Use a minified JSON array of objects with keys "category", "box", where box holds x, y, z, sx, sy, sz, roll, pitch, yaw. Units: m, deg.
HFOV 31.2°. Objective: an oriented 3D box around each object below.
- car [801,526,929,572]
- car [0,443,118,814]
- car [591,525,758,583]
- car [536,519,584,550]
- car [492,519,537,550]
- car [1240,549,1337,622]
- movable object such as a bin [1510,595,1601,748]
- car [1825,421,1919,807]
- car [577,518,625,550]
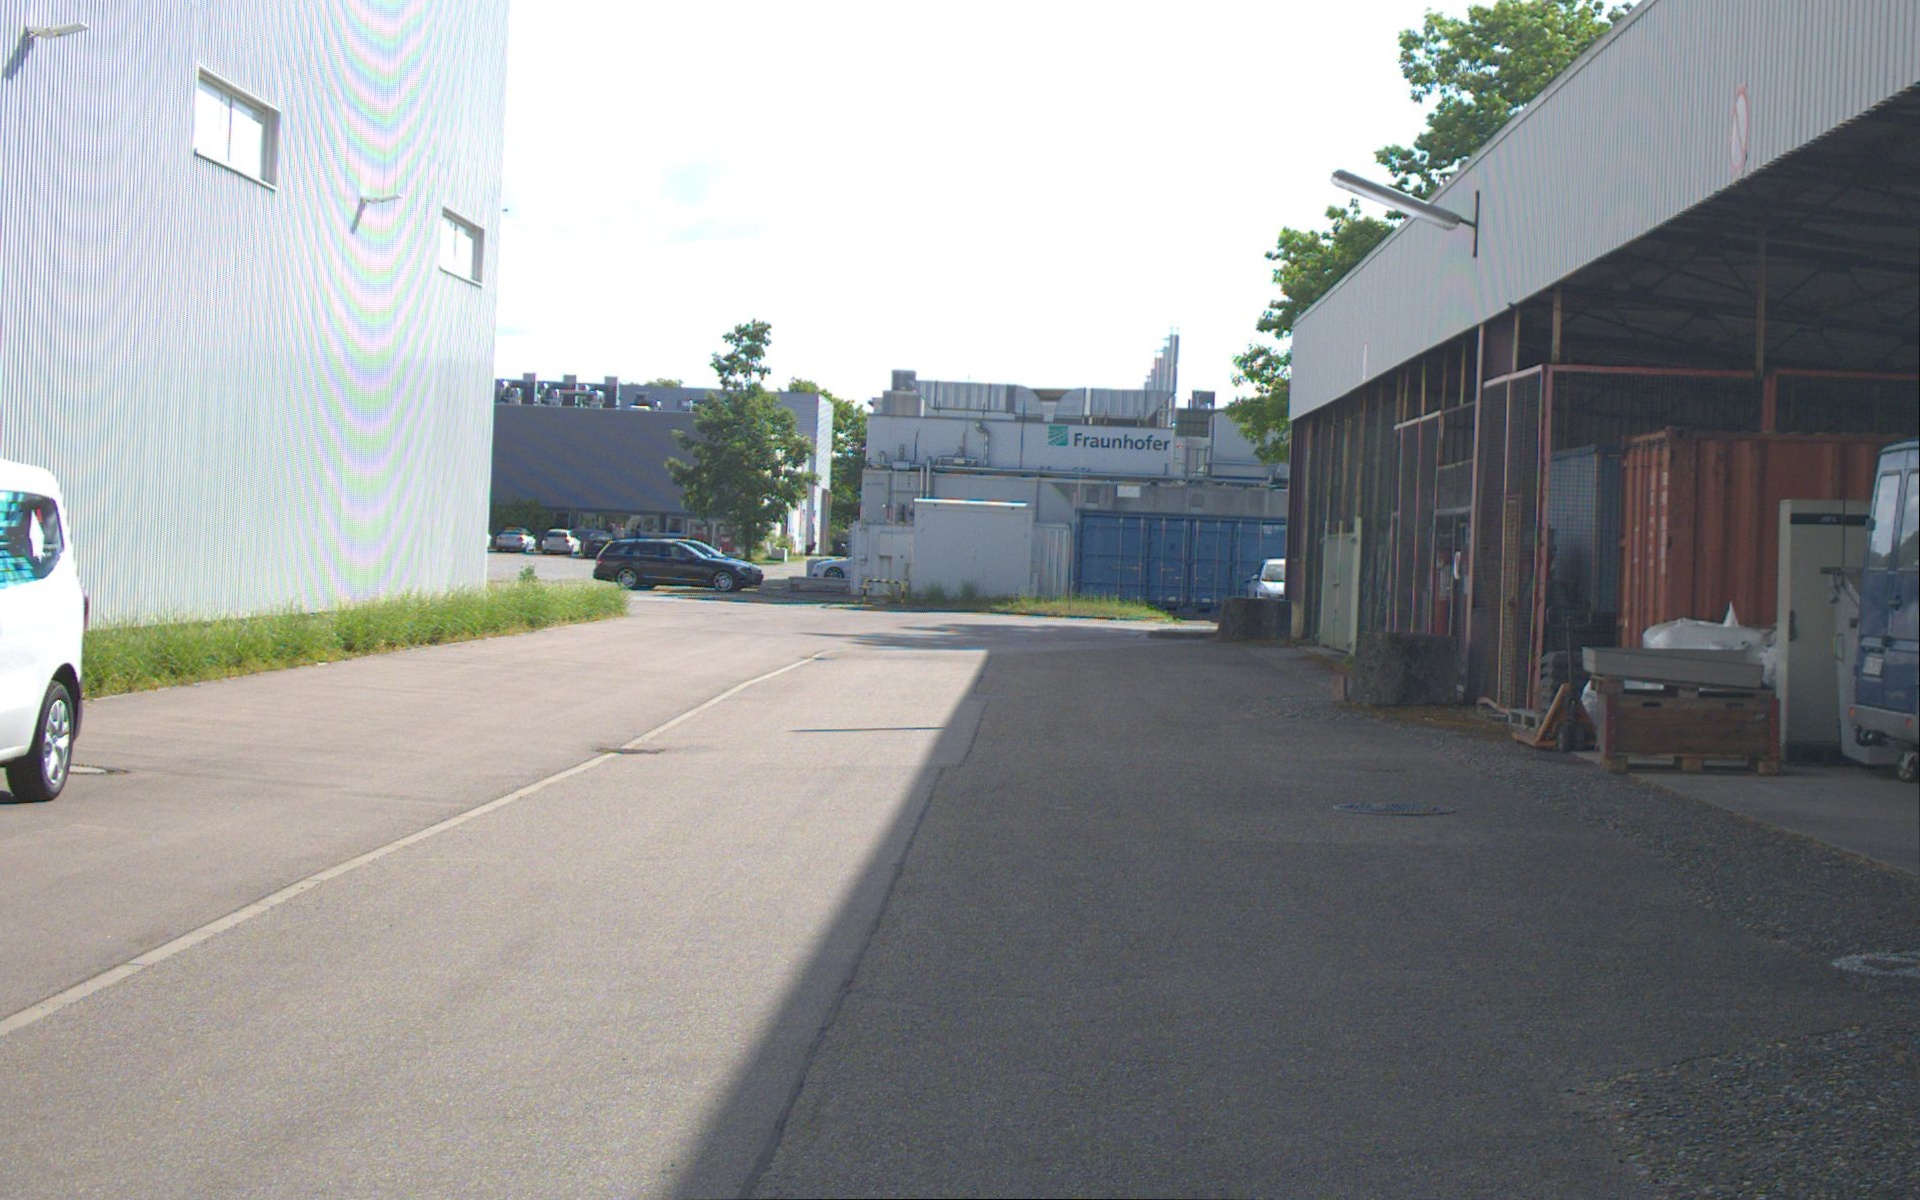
[{"category":"car","box":[-3.466,-1.863,126.419,4.526,1.503,1.909,2,1,2]},{"category":"car","box":[-5.651,0.083,16.674,1.890,1.839,4.358,4,1,1]},{"category":"car","box":[-8.198,-1.331,98.940,4.526,1.503,1.909,2,1,3]},{"category":"car","box":[-22.832,-3.738,196.468,2.193,1.730,4.000,1,1,1]},{"category":"car","box":[-25.425,-3.738,196.193,1.993,1.730,4.000,1,1,1]},{"category":"car","box":[8.165,-0.388,85.759,1.993,1.580,4.173,2,2,1]},{"category":"movable object such as a bin","box":[4.725,0.556,27.325,0.582,1.160,1.238,2,1,5]},{"category":"car","box":[8.191,0.154,21.546,4.979,2.317,2.000,2,1,2]},{"category":"car","box":[-20.311,-3.718,194.691,2.193,1.730,4.000,1,1,1]}]
